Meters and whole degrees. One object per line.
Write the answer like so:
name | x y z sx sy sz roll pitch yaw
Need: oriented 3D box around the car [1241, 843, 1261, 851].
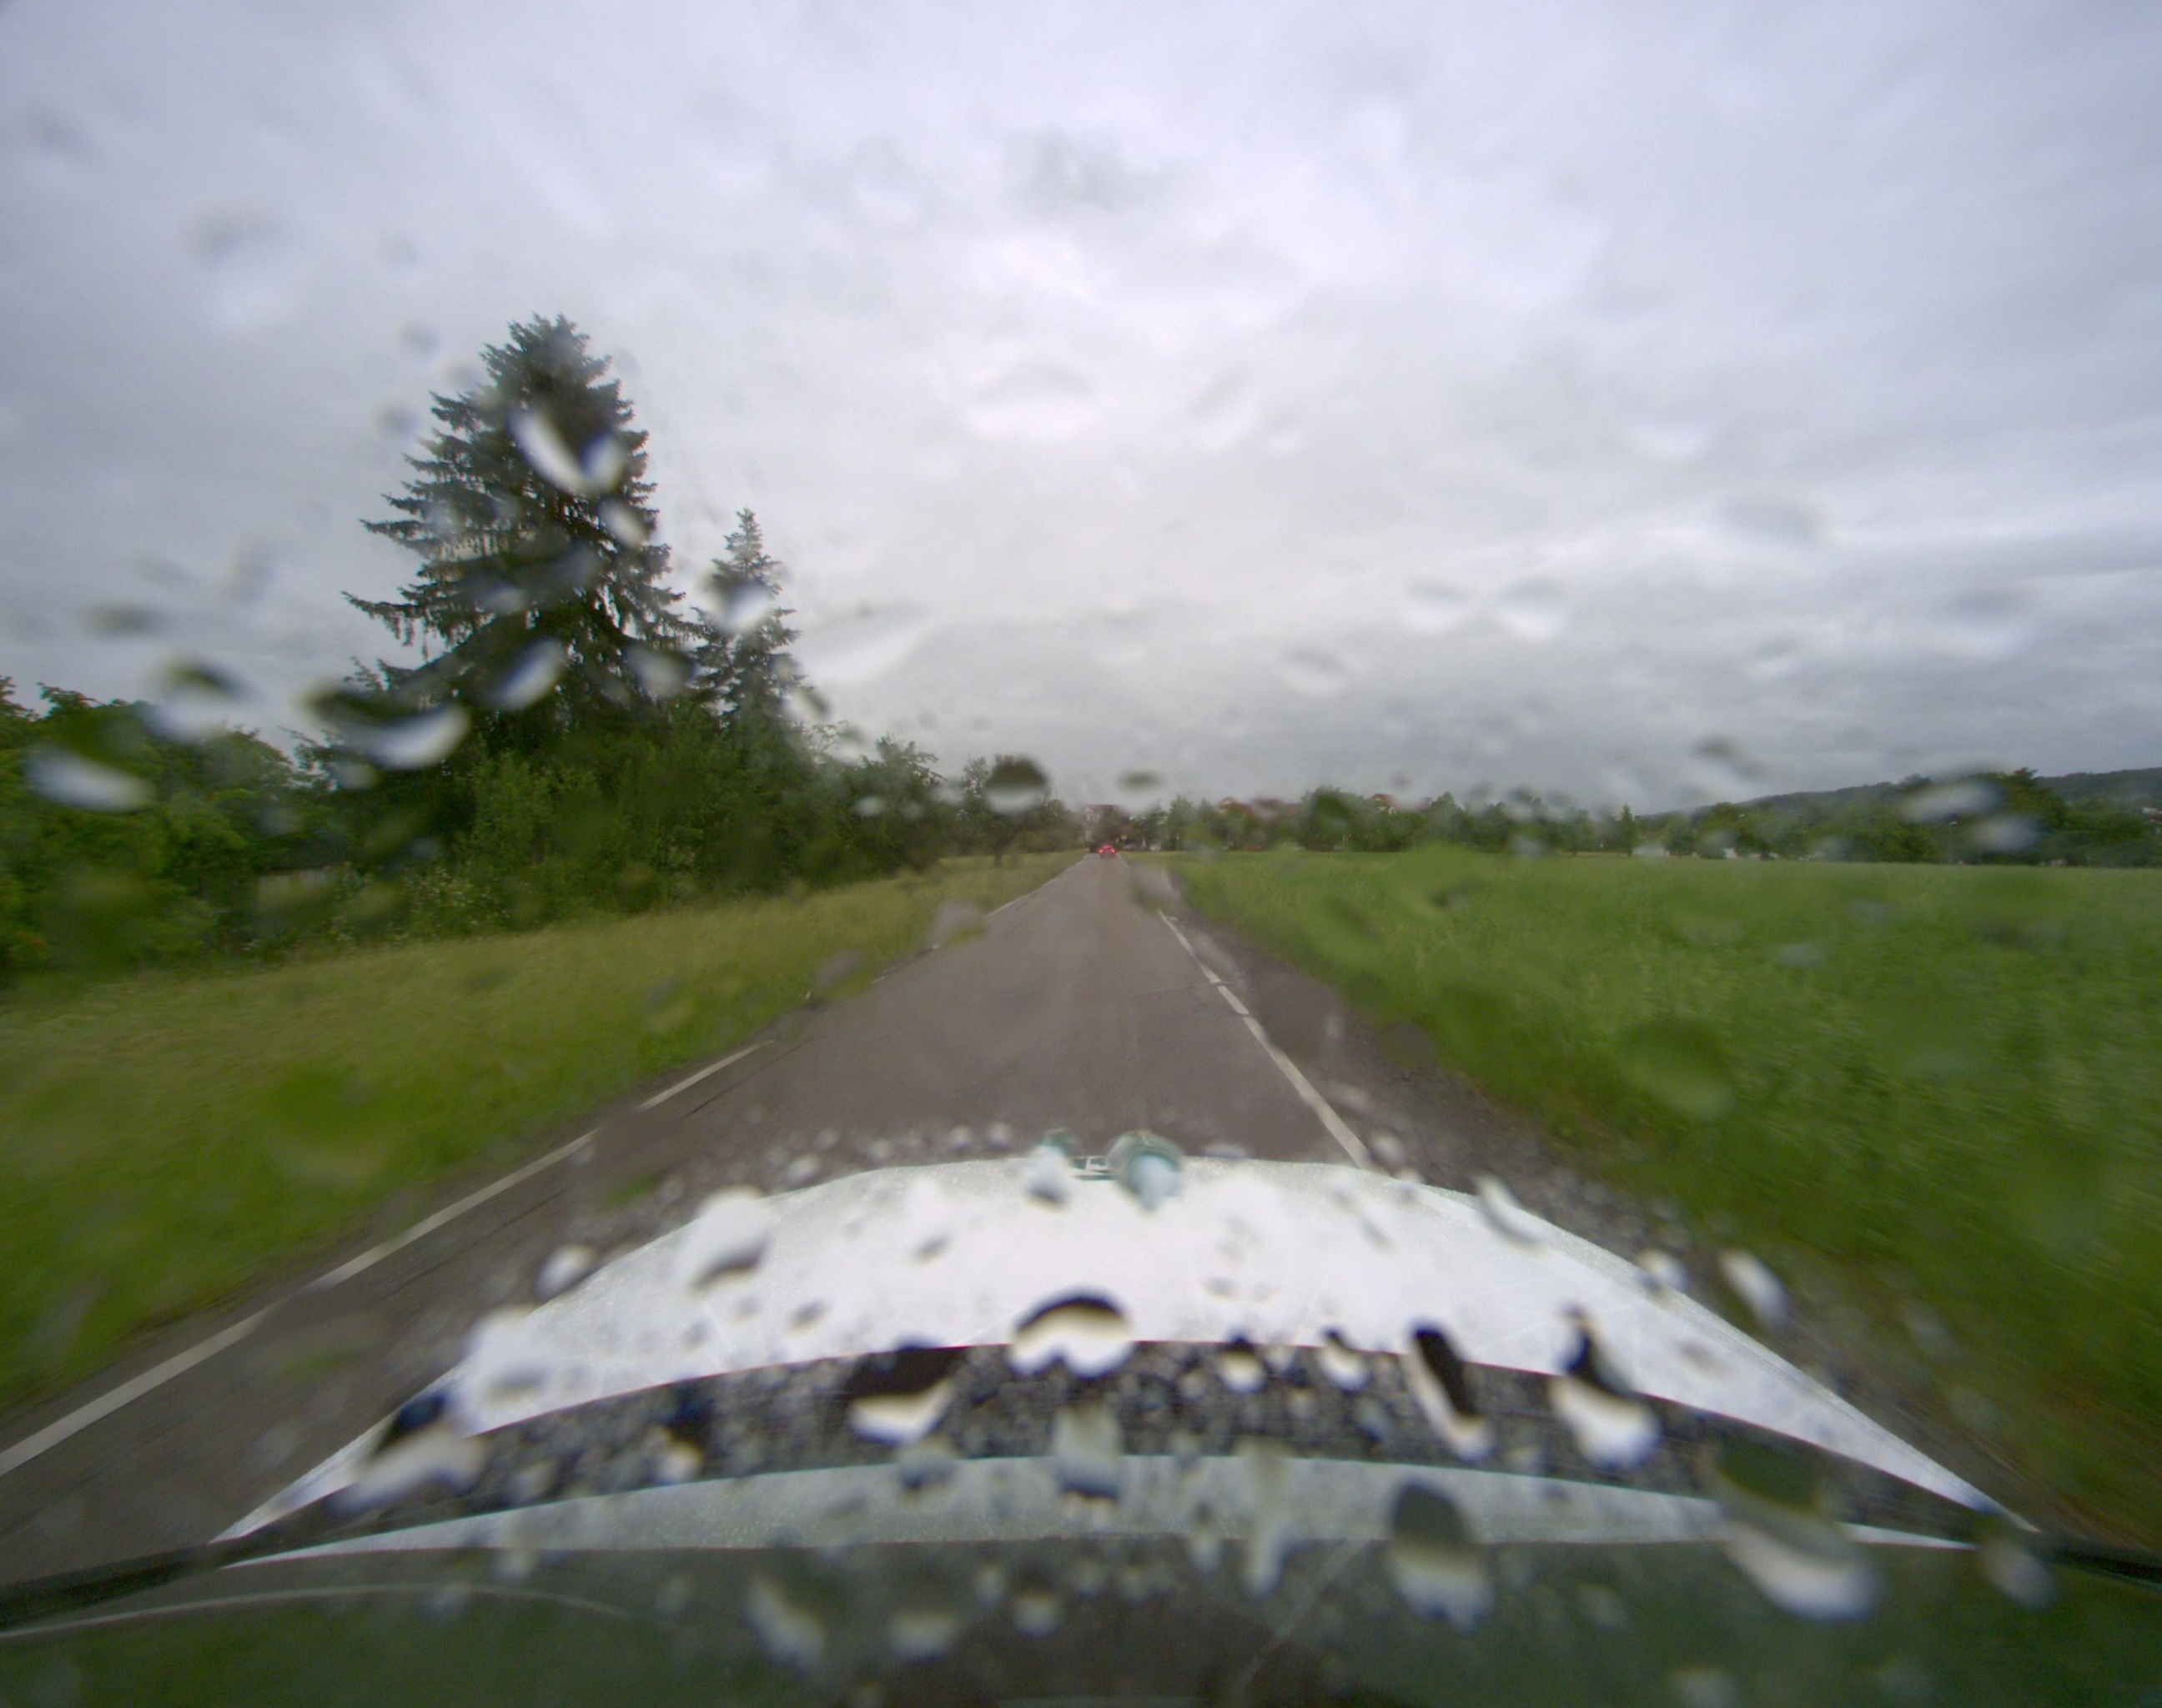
car | 28.203 -1.146 135.326 3.169 1.371 1.578 -1 -1 15

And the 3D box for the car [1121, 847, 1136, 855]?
car | 9.728 -0.622 166.214 1.645 1.546 4.023 -1 -1 27

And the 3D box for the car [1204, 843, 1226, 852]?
car | 22.544 -1.036 136.986 3.365 1.371 1.554 -1 -1 15

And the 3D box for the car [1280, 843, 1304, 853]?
car | 34.582 -0.992 133.483 3.682 1.564 1.617 -1 -1 15

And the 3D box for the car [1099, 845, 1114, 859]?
car | 3.112 -0.263 99.265 1.807 1.594 4.003 -1 -1 3
